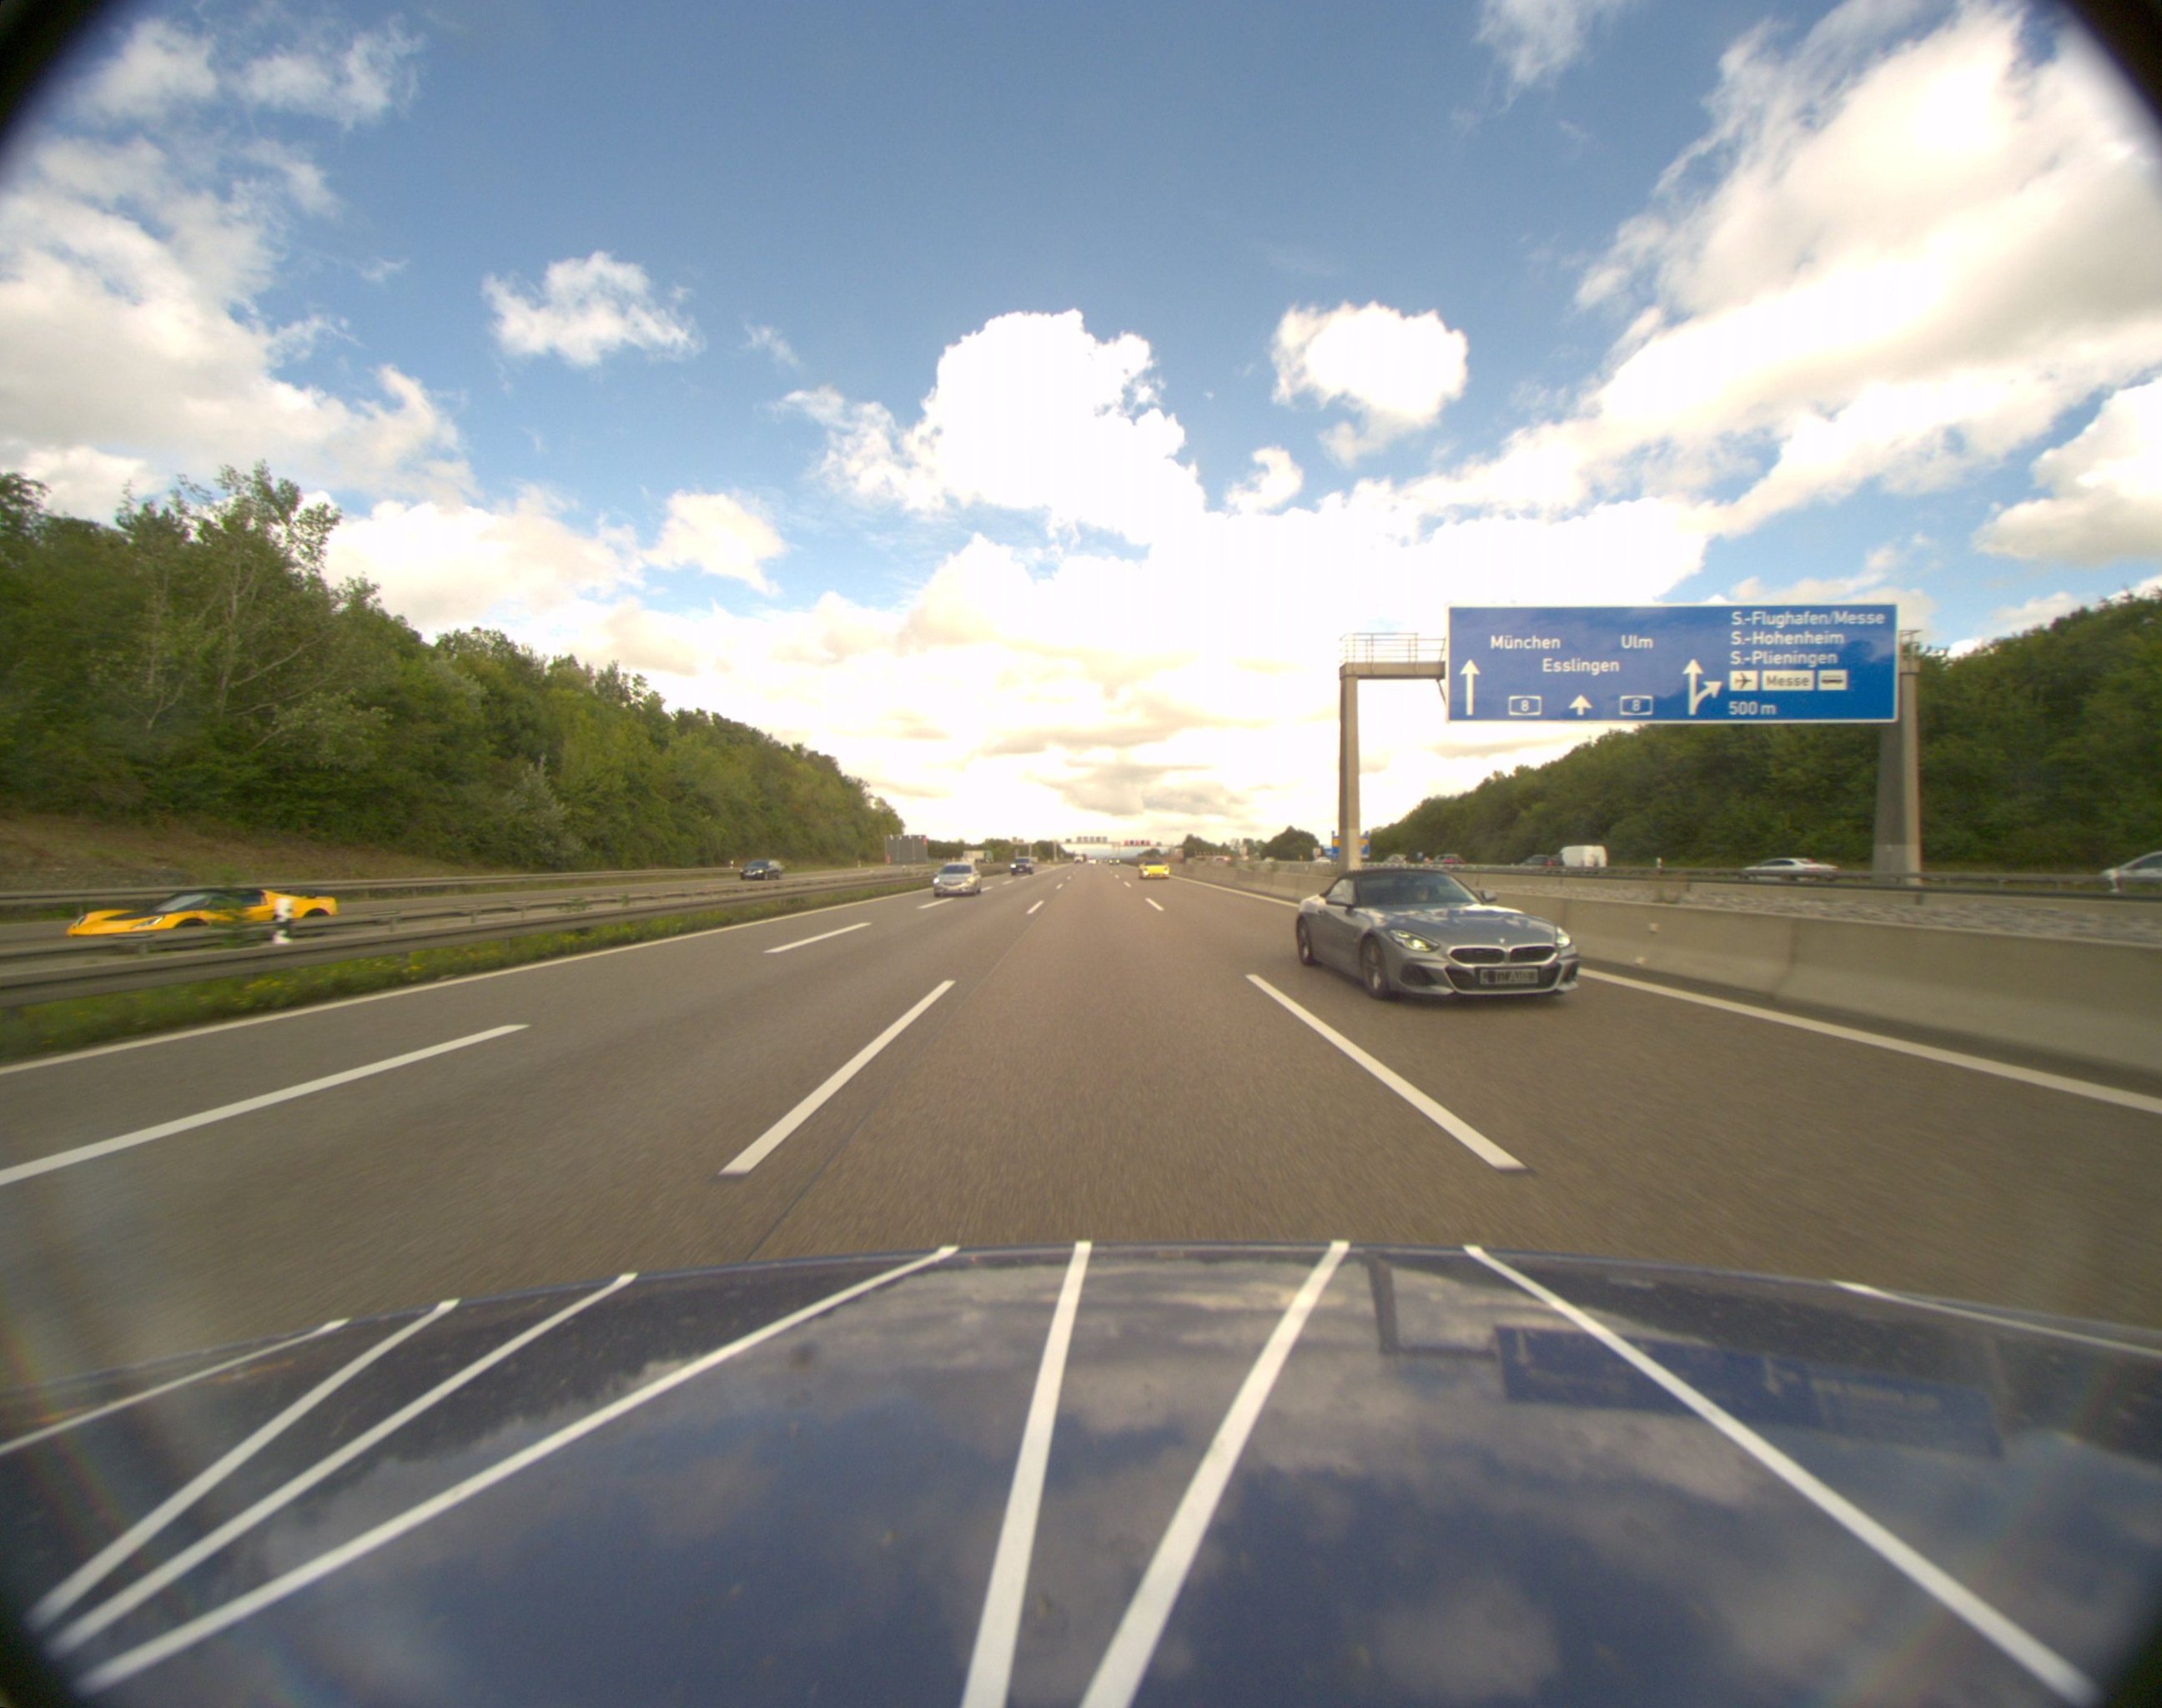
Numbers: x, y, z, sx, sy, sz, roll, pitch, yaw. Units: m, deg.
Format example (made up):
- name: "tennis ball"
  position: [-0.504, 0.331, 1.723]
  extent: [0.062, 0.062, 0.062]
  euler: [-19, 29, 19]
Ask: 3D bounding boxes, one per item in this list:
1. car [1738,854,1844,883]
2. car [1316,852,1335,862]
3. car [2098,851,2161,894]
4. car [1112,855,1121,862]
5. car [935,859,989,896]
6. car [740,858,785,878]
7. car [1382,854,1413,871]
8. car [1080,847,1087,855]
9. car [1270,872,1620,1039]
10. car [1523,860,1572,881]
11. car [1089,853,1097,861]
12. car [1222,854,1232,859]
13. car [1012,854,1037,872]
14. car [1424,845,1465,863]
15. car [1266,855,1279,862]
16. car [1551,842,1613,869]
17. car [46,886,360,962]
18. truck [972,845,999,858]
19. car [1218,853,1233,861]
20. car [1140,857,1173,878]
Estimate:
- name: "car"
  position: [38.026, 0.746, 40.870]
  extent: [1.662, 1.435, 4.323]
  euler: [0, 0, 0]
- name: "car"
  position: [36.549, 0.478, 113.698]
  extent: [1.680, 1.508, 4.369]
  euler: [0, 0, 2]
- name: "car"
  position: [42.019, 0.716, 28.273]
  extent: [1.739, 1.624, 4.947]
  euler: [0, 0, 0]
- name: "car"
  position: [6.757, 0.781, 144.373]
  extent: [1.593, 1.307, 3.978]
  euler: [1, 0, 0]
- name: "car"
  position: [-5.333, 0.998, 34.494]
  extent: [1.687, 1.476, 4.615]
  euler: [-1, 0, 0]
- name: "car"
  position: [-23.196, 0.980, 55.435]
  extent: [1.717, 1.407, 4.167]
  euler: [-1, 0, -4]
- name: "car"
  position: [39.411, 1.078, 94.608]
  extent: [1.998, 2.002, 4.344]
  euler: [-2, 0, 1]
- name: "car"
  position: [0.779, -0.950, 234.088]
  extent: [1.854, 2.565, 5.412]
  euler: [0, 0, 1]
- name: "car"
  position: [3.821, 0.954, 9.160]
  extent: [1.878, 1.295, 4.942]
  euler: [-1, 0, 1]
- name: "car"
  position: [38.954, 1.357, 63.590]
  extent: [1.662, 1.637, 4.000]
  euler: [0, 0, 0]
- name: "car"
  position: [2.443, 0.597, 156.798]
  extent: [1.736, 1.608, 4.000]
  euler: [-1, 0, 1]
- name: "car"
  position: [36.658, 0.661, 191.038]
  extent: [1.647, 1.307, 4.247]
  euler: [0, 0, 0]
- name: "car"
  position: [-5.426, 0.834, 73.501]
  extent: [1.876, 1.626, 4.859]
  euler: [-1, 0, 1]
- name: "car"
  position: [34.930, -0.006, 73.133]
  extent: [1.856, 1.719, 4.426]
  euler: [0, 0, 1]
- name: "car"
  position: [40.494, 0.932, 160.900]
  extent: [1.647, 1.307, 4.247]
  euler: [0, 0, 0]
- name: "car"
  position: [44.394, 0.089, 67.482]
  extent: [1.998, 2.301, 5.685]
  euler: [0, 0, 3]
- name: "car"
  position: [-18.036, 1.364, 15.978]
  extent: [1.716, 1.175, 4.168]
  euler: [-1, 0, 0]
- name: "truck"
  position: [-31.809, -0.798, 252.517]
  extent: [2.975, 3.775, 13.428]
  euler: [-2, 0, -35]
- name: "car"
  position: [22.374, 0.441, 117.706]
  extent: [1.647, 1.307, 4.247]
  euler: [0, 0, 0]
- name: "car"
  position: [5.017, 0.850, 51.127]
  extent: [1.811, 1.307, 4.247]
  euler: [1, 0, 0]
